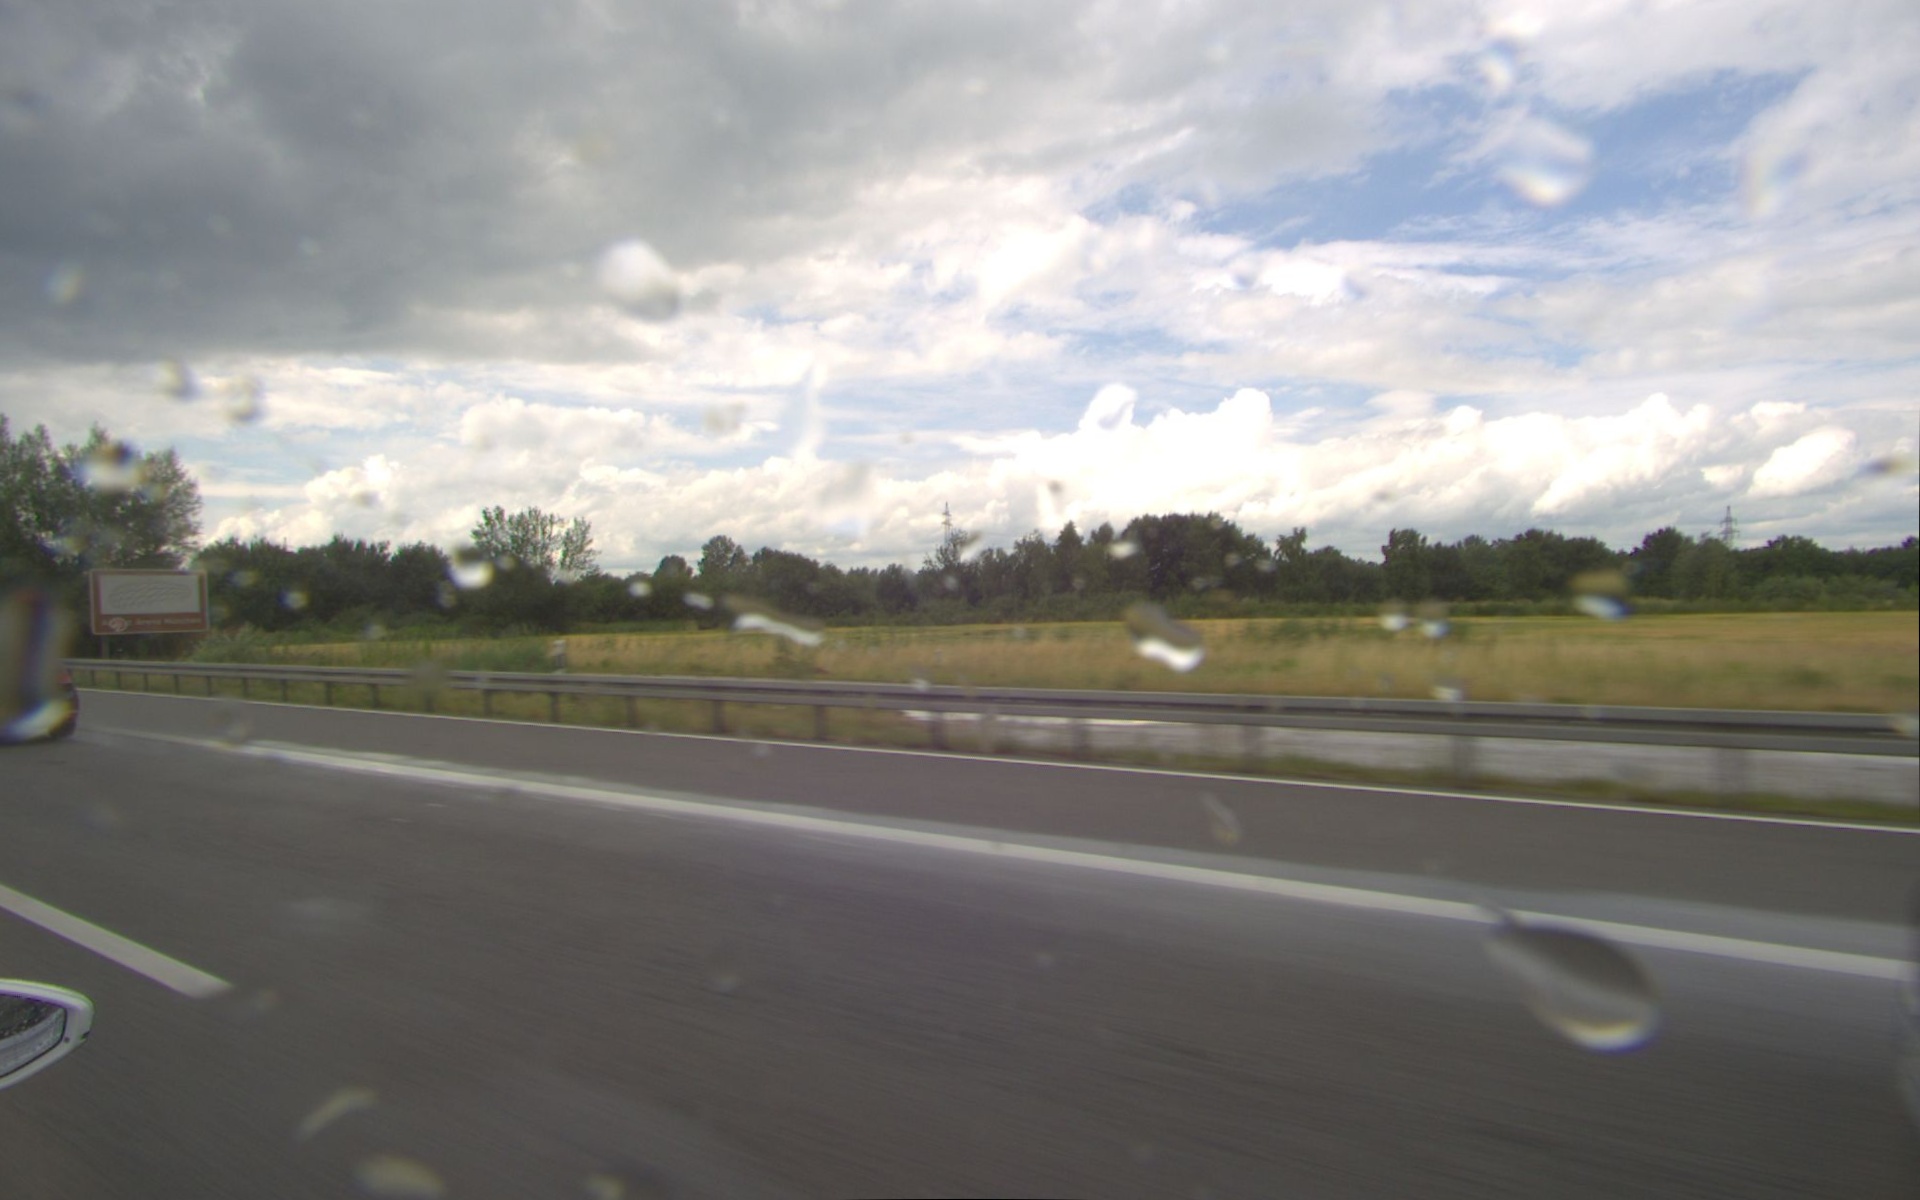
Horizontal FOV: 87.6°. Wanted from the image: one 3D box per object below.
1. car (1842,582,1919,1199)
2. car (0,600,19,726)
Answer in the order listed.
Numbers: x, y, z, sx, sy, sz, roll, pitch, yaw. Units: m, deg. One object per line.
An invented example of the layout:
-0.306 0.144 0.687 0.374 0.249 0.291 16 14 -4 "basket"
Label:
4.177 0.666 0.969 4.708 1.510 1.936 -1 -1 33 "car"
-14.697 0.871 14.171 4.408 1.652 1.698 -2 -1 43 "car"
